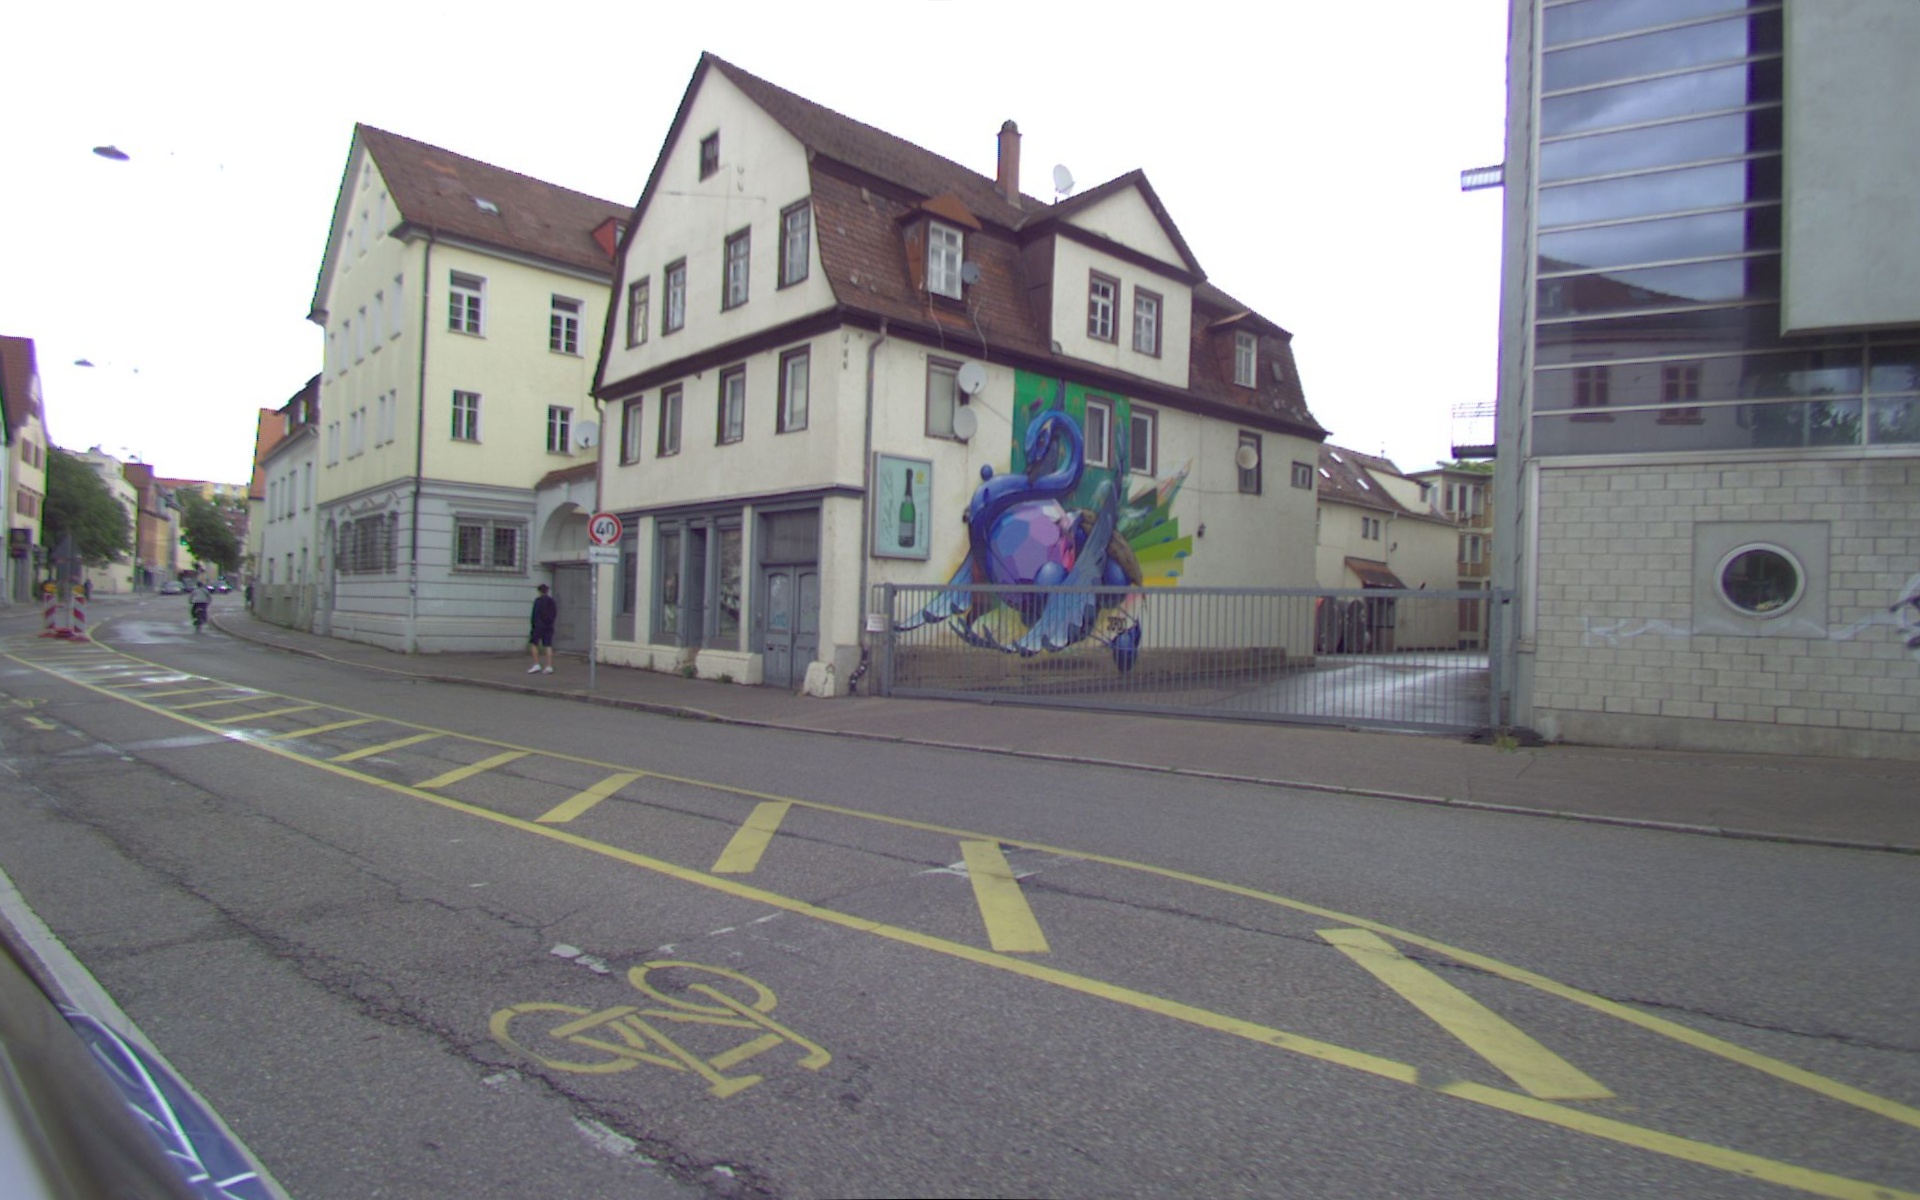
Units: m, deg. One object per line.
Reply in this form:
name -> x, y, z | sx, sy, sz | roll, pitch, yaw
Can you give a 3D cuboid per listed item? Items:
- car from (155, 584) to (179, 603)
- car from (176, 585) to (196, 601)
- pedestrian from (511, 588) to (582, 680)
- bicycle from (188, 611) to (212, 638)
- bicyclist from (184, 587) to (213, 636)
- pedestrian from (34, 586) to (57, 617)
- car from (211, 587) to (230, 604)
car -> -91.764, -0.724, 117.113 | 1.967, 2.029, 4.009 | 3, -2, -36
car -> -103.383, -0.939, 135.240 | 1.967, 2.029, 4.009 | 3, -2, -36
pedestrian -> -8.798, 0.714, 21.525 | 1.092, 1.900, 1.042 | -2, -2, 45
bicycle -> -27.150, 0.870, 36.137 | 0.534, 0.899, 1.883 | 3, -2, -41
bicyclist -> -27.200, 0.401, 36.140 | 0.714, 1.714, 0.812 | 3, -2, -42
pedestrian -> -57.934, 0.081, 64.118 | 0.895, 1.914, 0.868 | 0, -2, 36
car -> -97.804, -0.583, 133.858 | 1.967, 2.029, 4.009 | 3, -2, -36
